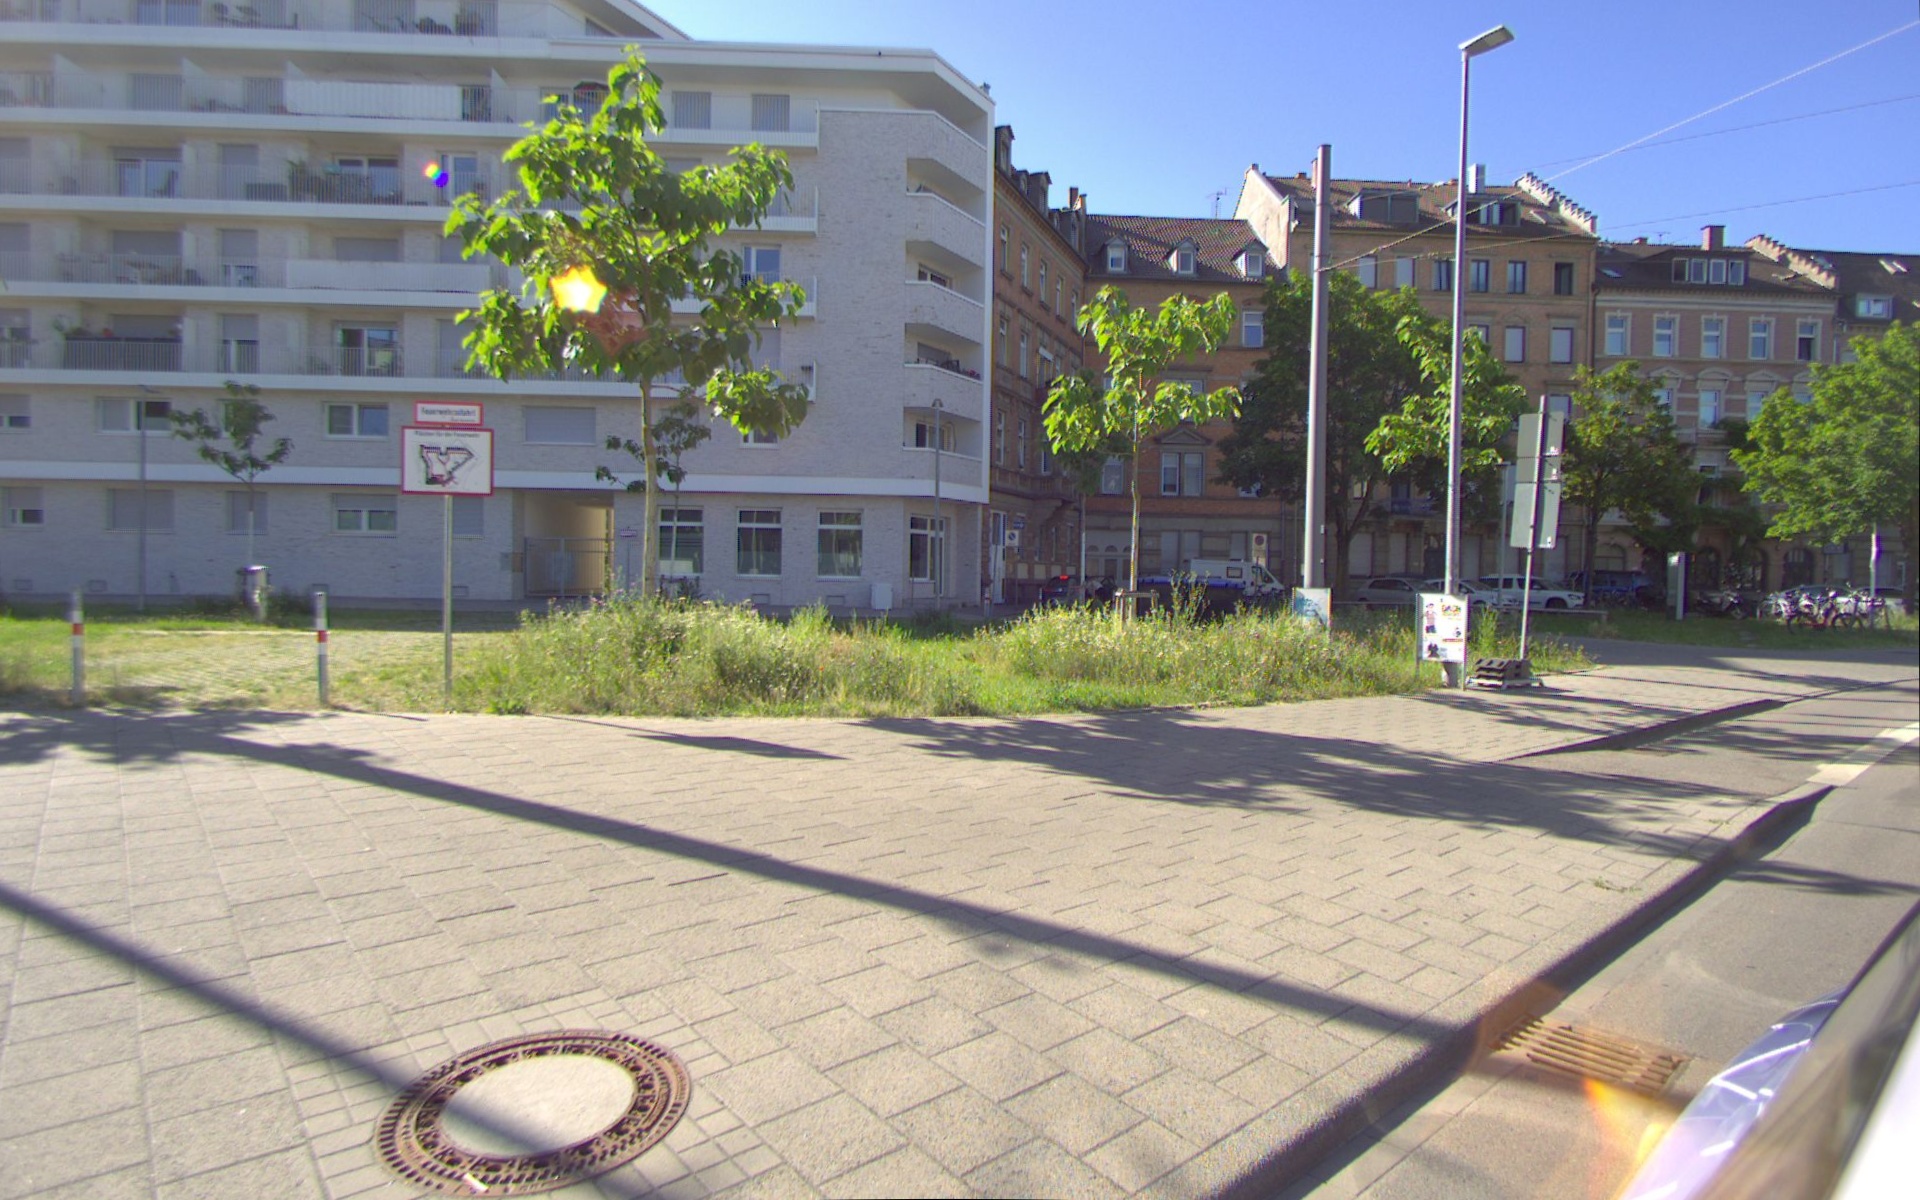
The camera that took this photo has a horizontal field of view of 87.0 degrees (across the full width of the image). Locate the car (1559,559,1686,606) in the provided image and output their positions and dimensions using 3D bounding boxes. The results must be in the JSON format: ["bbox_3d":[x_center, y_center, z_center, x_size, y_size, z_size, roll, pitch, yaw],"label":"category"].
[{"bbox_3d":[31.294,-0.841,47.891,4.631,2.001,2.002,1,3,-3],"label":"car"}]

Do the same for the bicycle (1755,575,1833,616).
[{"bbox_3d":[29.075,-0.185,35.313,0.771,1.382,2.103,0,1,-8],"label":"bicycle"}]

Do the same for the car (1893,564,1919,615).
[{"bbox_3d":[40.610,-0.321,40.167,2.061,2.037,4.882,-1,4,-36],"label":"car"}]

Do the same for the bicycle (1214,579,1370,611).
[{"bbox_3d":[12.896,-0.197,39.564,5.116,1.141,2.687,1,1,-7],"label":"bicycle"}]

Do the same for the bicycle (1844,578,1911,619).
[{"bbox_3d":[31.665,-0.072,34.956,1.589,1.306,0.760,3,3,38],"label":"bicycle"}]

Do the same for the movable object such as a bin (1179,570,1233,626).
[{"bbox_3d":[6.552,-0.064,26.946,1.303,1.416,1.105,1,1,18],"label":"movable object such as a bin"}]

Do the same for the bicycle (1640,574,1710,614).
[{"bbox_3d":[26.241,-0.226,37.179,0.771,1.416,2.104,0,1,-13],"label":"bicycle"}]

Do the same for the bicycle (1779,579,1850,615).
[{"bbox_3d":[31.022,-0.134,36.784,0.825,1.206,1.966,1,3,-3],"label":"bicycle"}]

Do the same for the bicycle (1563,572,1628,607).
[{"bbox_3d":[25.824,-0.446,41.171,0.774,1.382,2.096,0,2,-42],"label":"bicycle"}]

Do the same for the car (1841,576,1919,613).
[{"bbox_3d":[37.621,-0.208,40.210,1.889,1.397,3.615,0,2,-35],"label":"car"}]

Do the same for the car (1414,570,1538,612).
[{"bbox_3d":[19.626,-0.371,38.631,1.726,1.459,3.846,0,2,-33],"label":"car"}]

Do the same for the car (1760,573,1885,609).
[{"bbox_3d":[41.667,-0.459,48.931,4.422,1.547,2.004,1,3,-6],"label":"car"}]

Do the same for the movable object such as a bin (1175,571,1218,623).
[{"bbox_3d":[6.612,-0.101,28.279,1.076,1.416,1.026,1,1,18],"label":"movable object such as a bin"}]

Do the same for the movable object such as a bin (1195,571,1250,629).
[{"bbox_3d":[6.684,-0.008,25.764,1.286,1.416,1.066,1,1,18],"label":"movable object such as a bin"}]

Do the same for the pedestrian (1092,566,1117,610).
[{"bbox_3d":[5.302,-0.441,37.195,0.756,1.596,0.643,0,1,-2],"label":"pedestrian"}]

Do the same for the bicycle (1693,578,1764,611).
[{"bbox_3d":[28.486,-0.234,37.563,0.806,1.173,2.172,1,1,-6],"label":"bicycle"}]

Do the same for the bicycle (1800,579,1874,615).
[{"bbox_3d":[31.924,-0.128,36.881,0.882,1.195,1.953,0,3,-3],"label":"bicycle"}]

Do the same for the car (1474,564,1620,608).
[{"bbox_3d":[22.447,-0.579,38.863,1.900,1.585,4.473,0,2,-33],"label":"car"}]

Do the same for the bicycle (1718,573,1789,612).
[{"bbox_3d":[29.463,-0.297,37.632,0.771,1.382,2.103,1,1,-8],"label":"bicycle"}]

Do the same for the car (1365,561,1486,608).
[{"bbox_3d":[21.803,-0.735,47.500,4.632,2.001,2.002,2,3,-2],"label":"car"}]

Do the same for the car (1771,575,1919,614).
[{"bbox_3d":[34.941,-0.243,39.499,2.007,1.397,4.753,0,2,-35],"label":"car"}]

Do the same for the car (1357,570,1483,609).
[{"bbox_3d":[17.249,-0.421,38.132,1.802,1.354,4.063,0,2,-27],"label":"car"}]

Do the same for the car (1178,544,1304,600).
[{"bbox_3d":[12.959,-1.313,46.952,5.087,2.386,2.359,2,3,-1],"label":"car"}]

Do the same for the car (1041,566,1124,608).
[{"bbox_3d":[4.639,-0.502,37.826,1.979,1.454,4.074,1,1,24],"label":"car"}]

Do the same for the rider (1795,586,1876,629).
[{"bbox_3d":[24.943,0.223,28.858,1.652,1.191,0.501,-1,0,15],"label":"rider"}]
